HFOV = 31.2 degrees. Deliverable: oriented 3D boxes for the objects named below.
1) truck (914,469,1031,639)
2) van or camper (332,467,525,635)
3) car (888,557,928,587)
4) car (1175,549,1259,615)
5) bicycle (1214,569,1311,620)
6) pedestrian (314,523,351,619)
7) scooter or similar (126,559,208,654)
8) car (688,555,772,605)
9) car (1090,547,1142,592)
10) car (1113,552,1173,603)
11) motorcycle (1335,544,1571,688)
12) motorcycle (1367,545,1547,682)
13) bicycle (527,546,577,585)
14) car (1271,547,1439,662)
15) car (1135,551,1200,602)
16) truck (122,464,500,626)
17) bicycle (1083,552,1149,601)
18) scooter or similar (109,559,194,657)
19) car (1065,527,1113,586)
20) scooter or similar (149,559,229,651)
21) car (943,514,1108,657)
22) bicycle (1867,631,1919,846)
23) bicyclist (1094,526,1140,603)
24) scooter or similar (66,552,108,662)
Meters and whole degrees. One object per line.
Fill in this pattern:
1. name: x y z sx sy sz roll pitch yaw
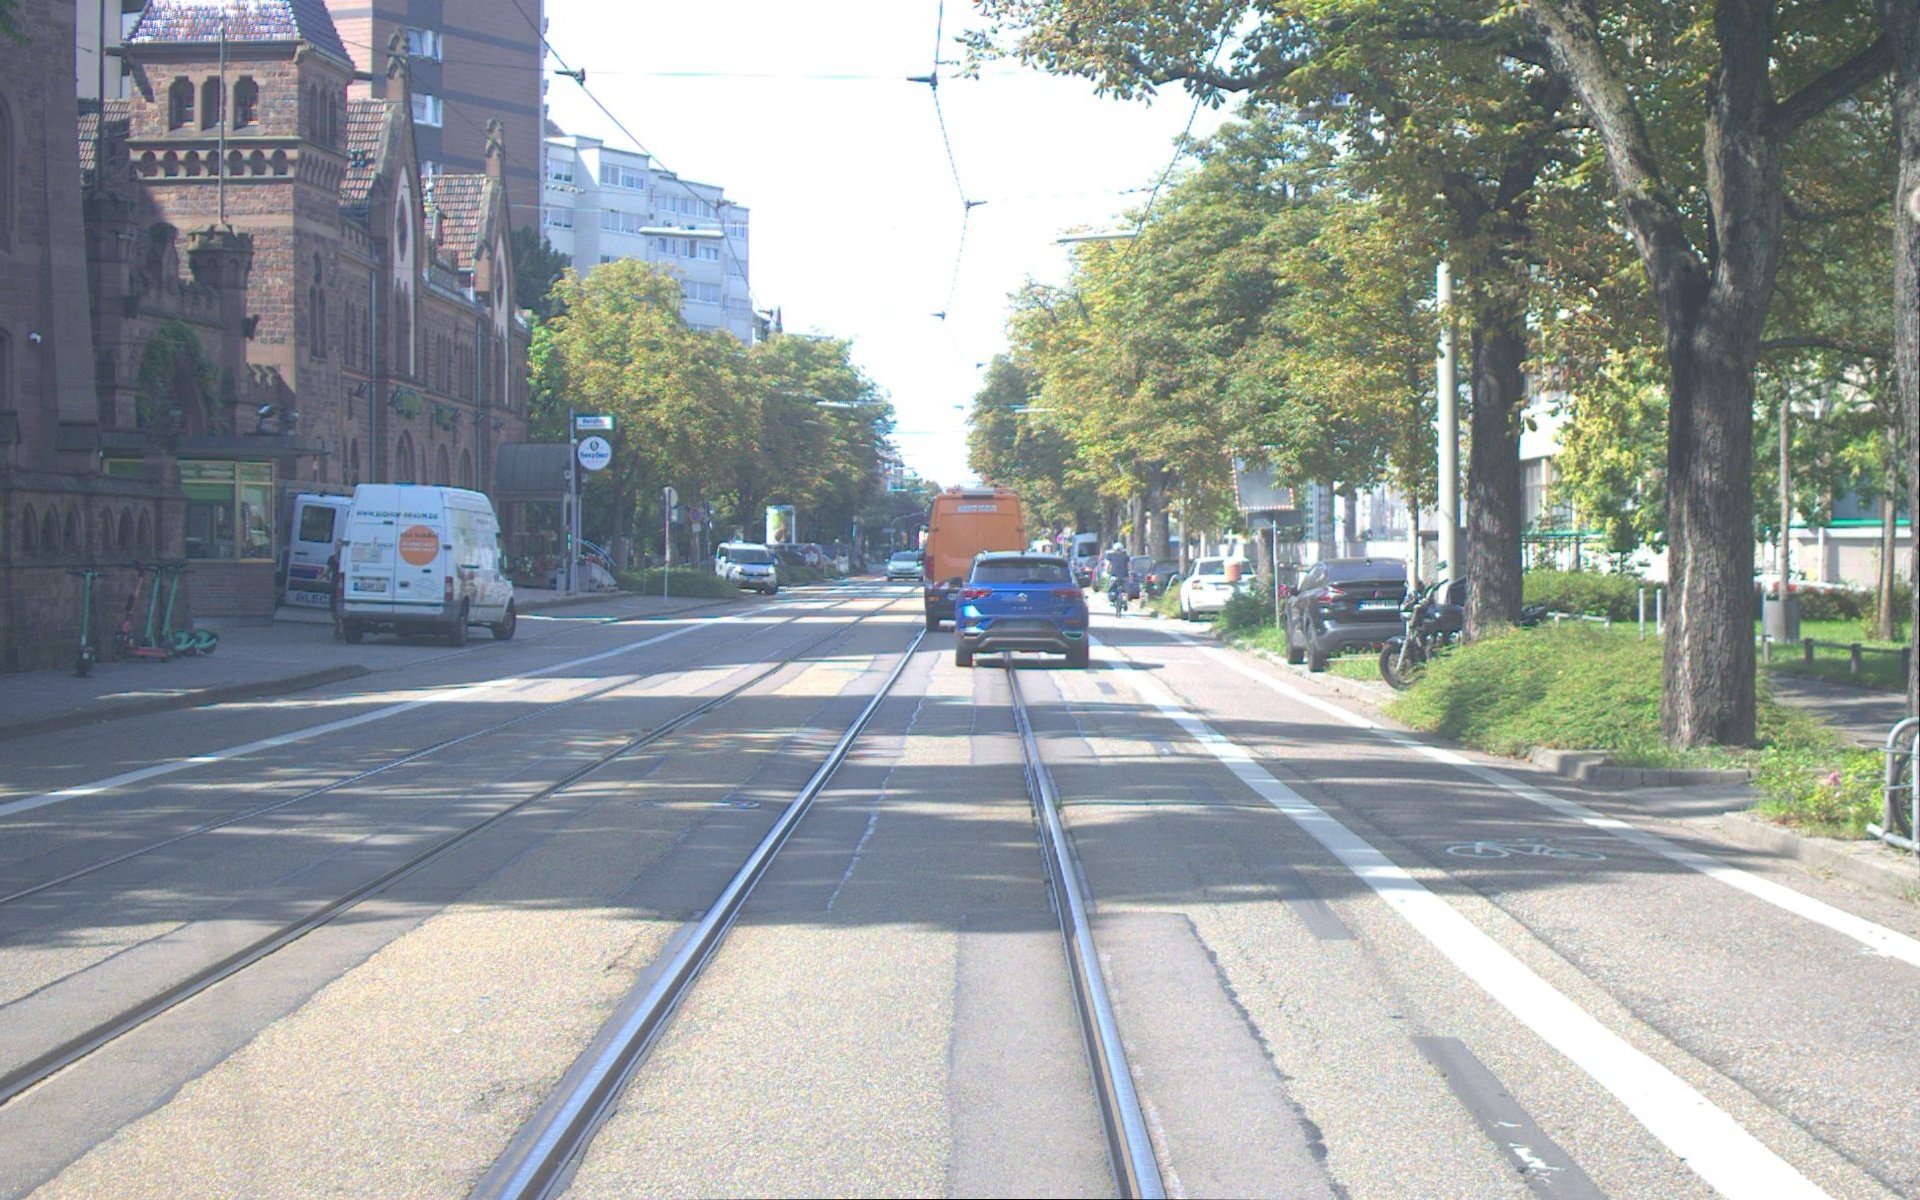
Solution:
1. truck: 0.270 -0.885 66.340 2.135 3.113 6.085 0 1 1
2. van or camper: -8.867 -0.830 57.859 2.113 2.666 5.955 1 1 2
3. car: -2.626 -1.441 175.110 1.847 1.486 4.867 -1 1 1
4. car: 5.896 -0.420 79.229 1.659 1.476 4.217 0 1 1
5. bicycle: 5.840 -0.112 66.472 1.812 0.955 0.558 1 1 1
6. pedestrian: -10.456 -0.487 57.260 0.497 1.593 0.552 1 1 1
7. scooter or similar: -9.960 0.073 43.191 0.340 1.174 1.176 1 1 26
8. car: -8.463 -0.752 126.155 1.746 1.790 4.001 0 1 -24
9. car: 6.005 -1.189 132.355 1.740 1.662 4.362 1 1 -1
10. car: 5.784 -0.720 109.167 1.743 1.550 4.217 0 1 1
11. motorcycle: 5.388 0.156 37.687 2.453 1.510 0.851 1 1 39
12. motorcycle: 5.667 0.133 39.383 0.850 1.510 2.456 0 1 -24
13. bicycle: -12.538 -1.068 105.732 1.451 1.089 0.399 4 0 -3
14. car: 5.496 0.030 48.352 1.756 1.510 4.610 -1 1 -1
15. car: 5.880 -0.663 97.613 1.659 1.403 4.217 0 1 1
16. truck: -11.811 -1.030 62.752 6.322 2.529 2.130 3 2 6
17. bicycle: 3.669 -0.565 81.193 1.401 1.130 4.000 0 1 0
18. scooter or similar: -9.879 0.092 42.017 0.340 1.174 1.176 1 1 26
19. car: 6.111 -2.077 163.464 1.993 2.746 5.761 1 1 -1
20. scooter or similar: -9.935 0.056 44.325 0.340 1.174 1.176 1 1 26
21. car: 0.877 -0.229 47.439 2.135 1.852 5.568 0 1 1
22. bicycle: 5.504 0.677 17.215 1.771 1.046 0.541 -1 1 0
23. bicyclist: 3.708 -0.847 81.200 1.031 1.806 1.016 1 1 0
24. scooter or similar: -9.580 0.071 37.710 0.420 1.174 1.317 0 1 -15
